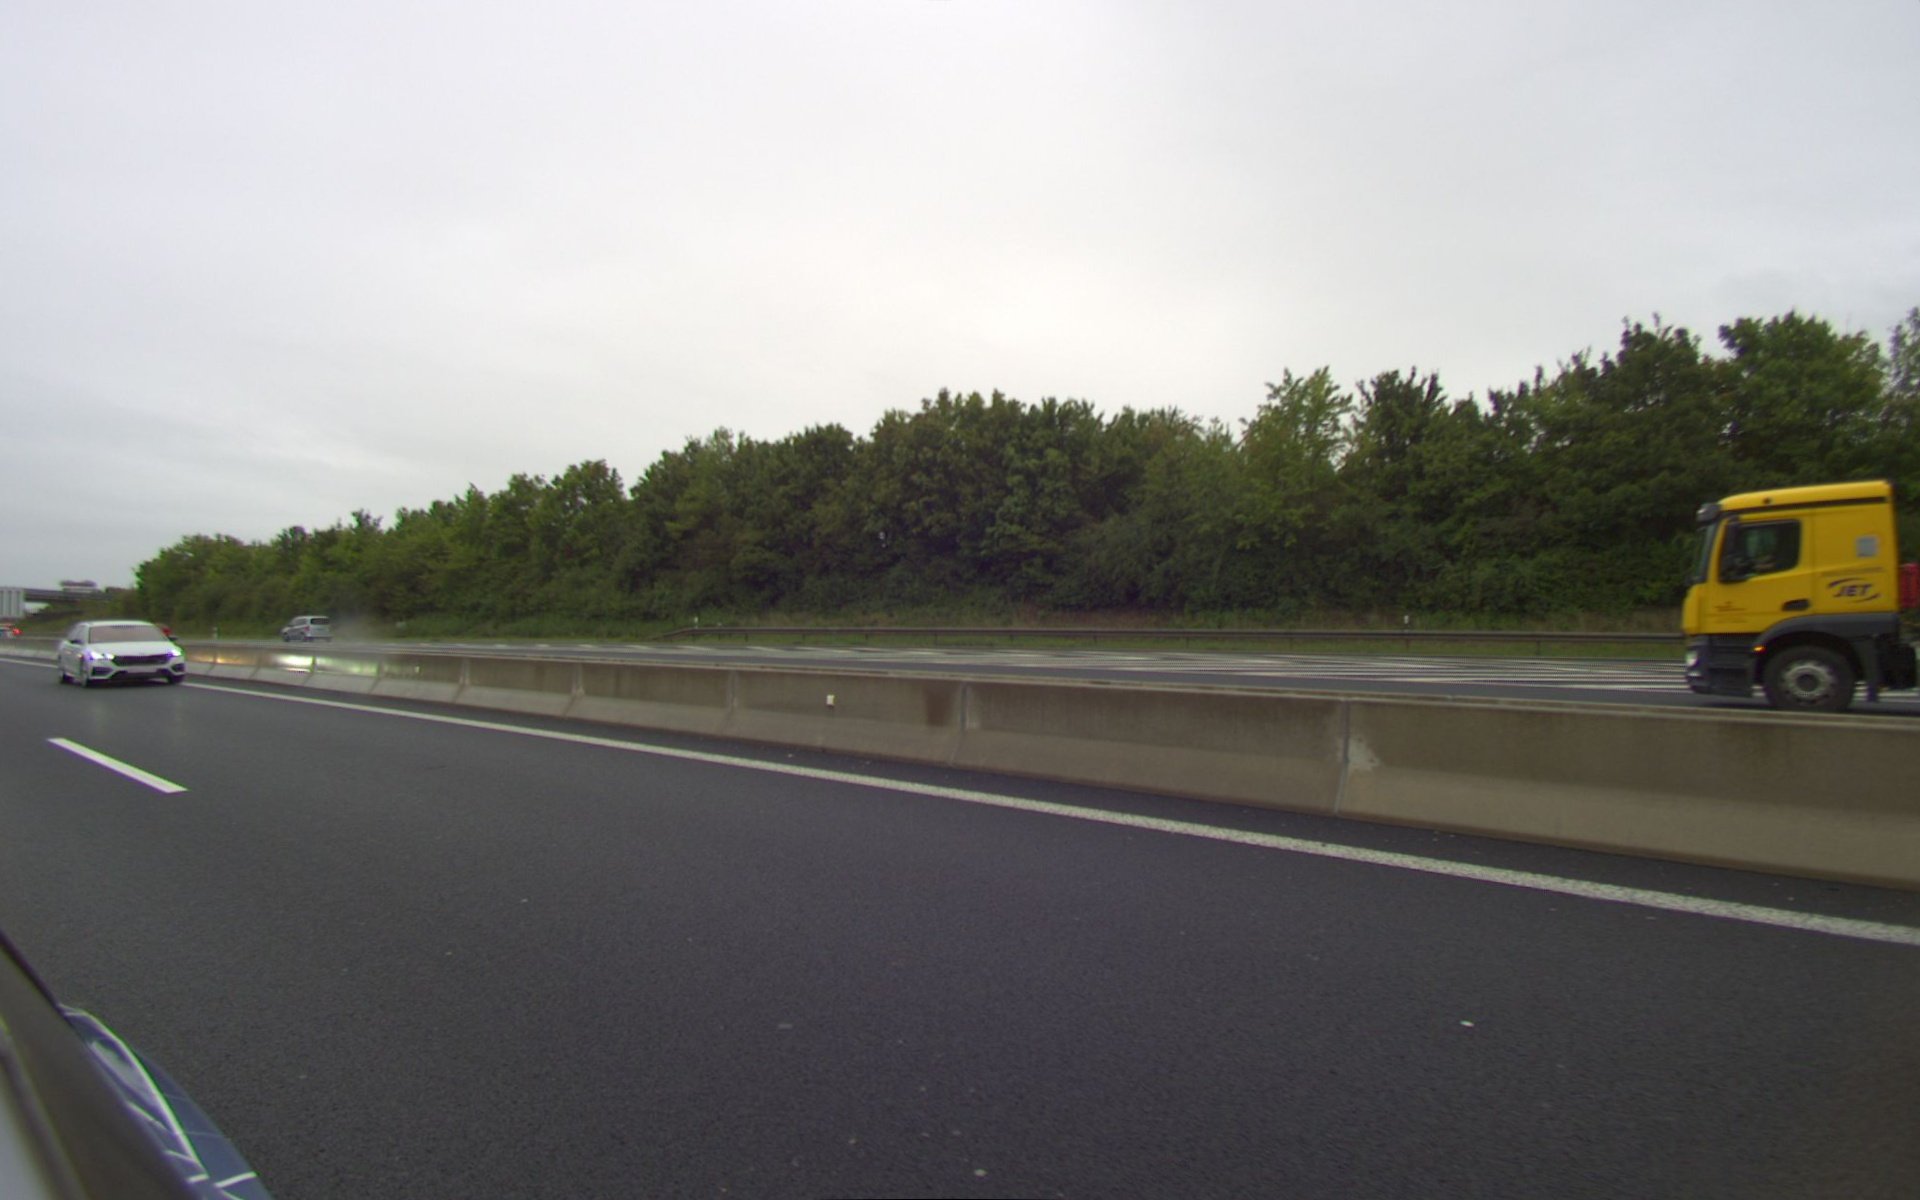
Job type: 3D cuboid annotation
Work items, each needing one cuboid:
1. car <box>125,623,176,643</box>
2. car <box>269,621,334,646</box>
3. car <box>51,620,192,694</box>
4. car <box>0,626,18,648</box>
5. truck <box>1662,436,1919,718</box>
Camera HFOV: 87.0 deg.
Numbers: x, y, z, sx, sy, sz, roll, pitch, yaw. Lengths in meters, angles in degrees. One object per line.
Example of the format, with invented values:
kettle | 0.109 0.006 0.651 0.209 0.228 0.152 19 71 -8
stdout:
car | -73.684 3.004 92.131 4.610 1.708 2.164 -1 -1 31
car | -46.712 2.403 71.773 4.553 1.708 2.163 -1 -1 32
car | -19.317 1.254 23.271 4.112 1.518 1.880 -2 -2 41
car | -75.489 2.889 79.298 4.864 1.708 2.156 -2 -2 43
truck | 12.828 -0.296 13.007 5.848 3.424 2.730 -1 0 45
